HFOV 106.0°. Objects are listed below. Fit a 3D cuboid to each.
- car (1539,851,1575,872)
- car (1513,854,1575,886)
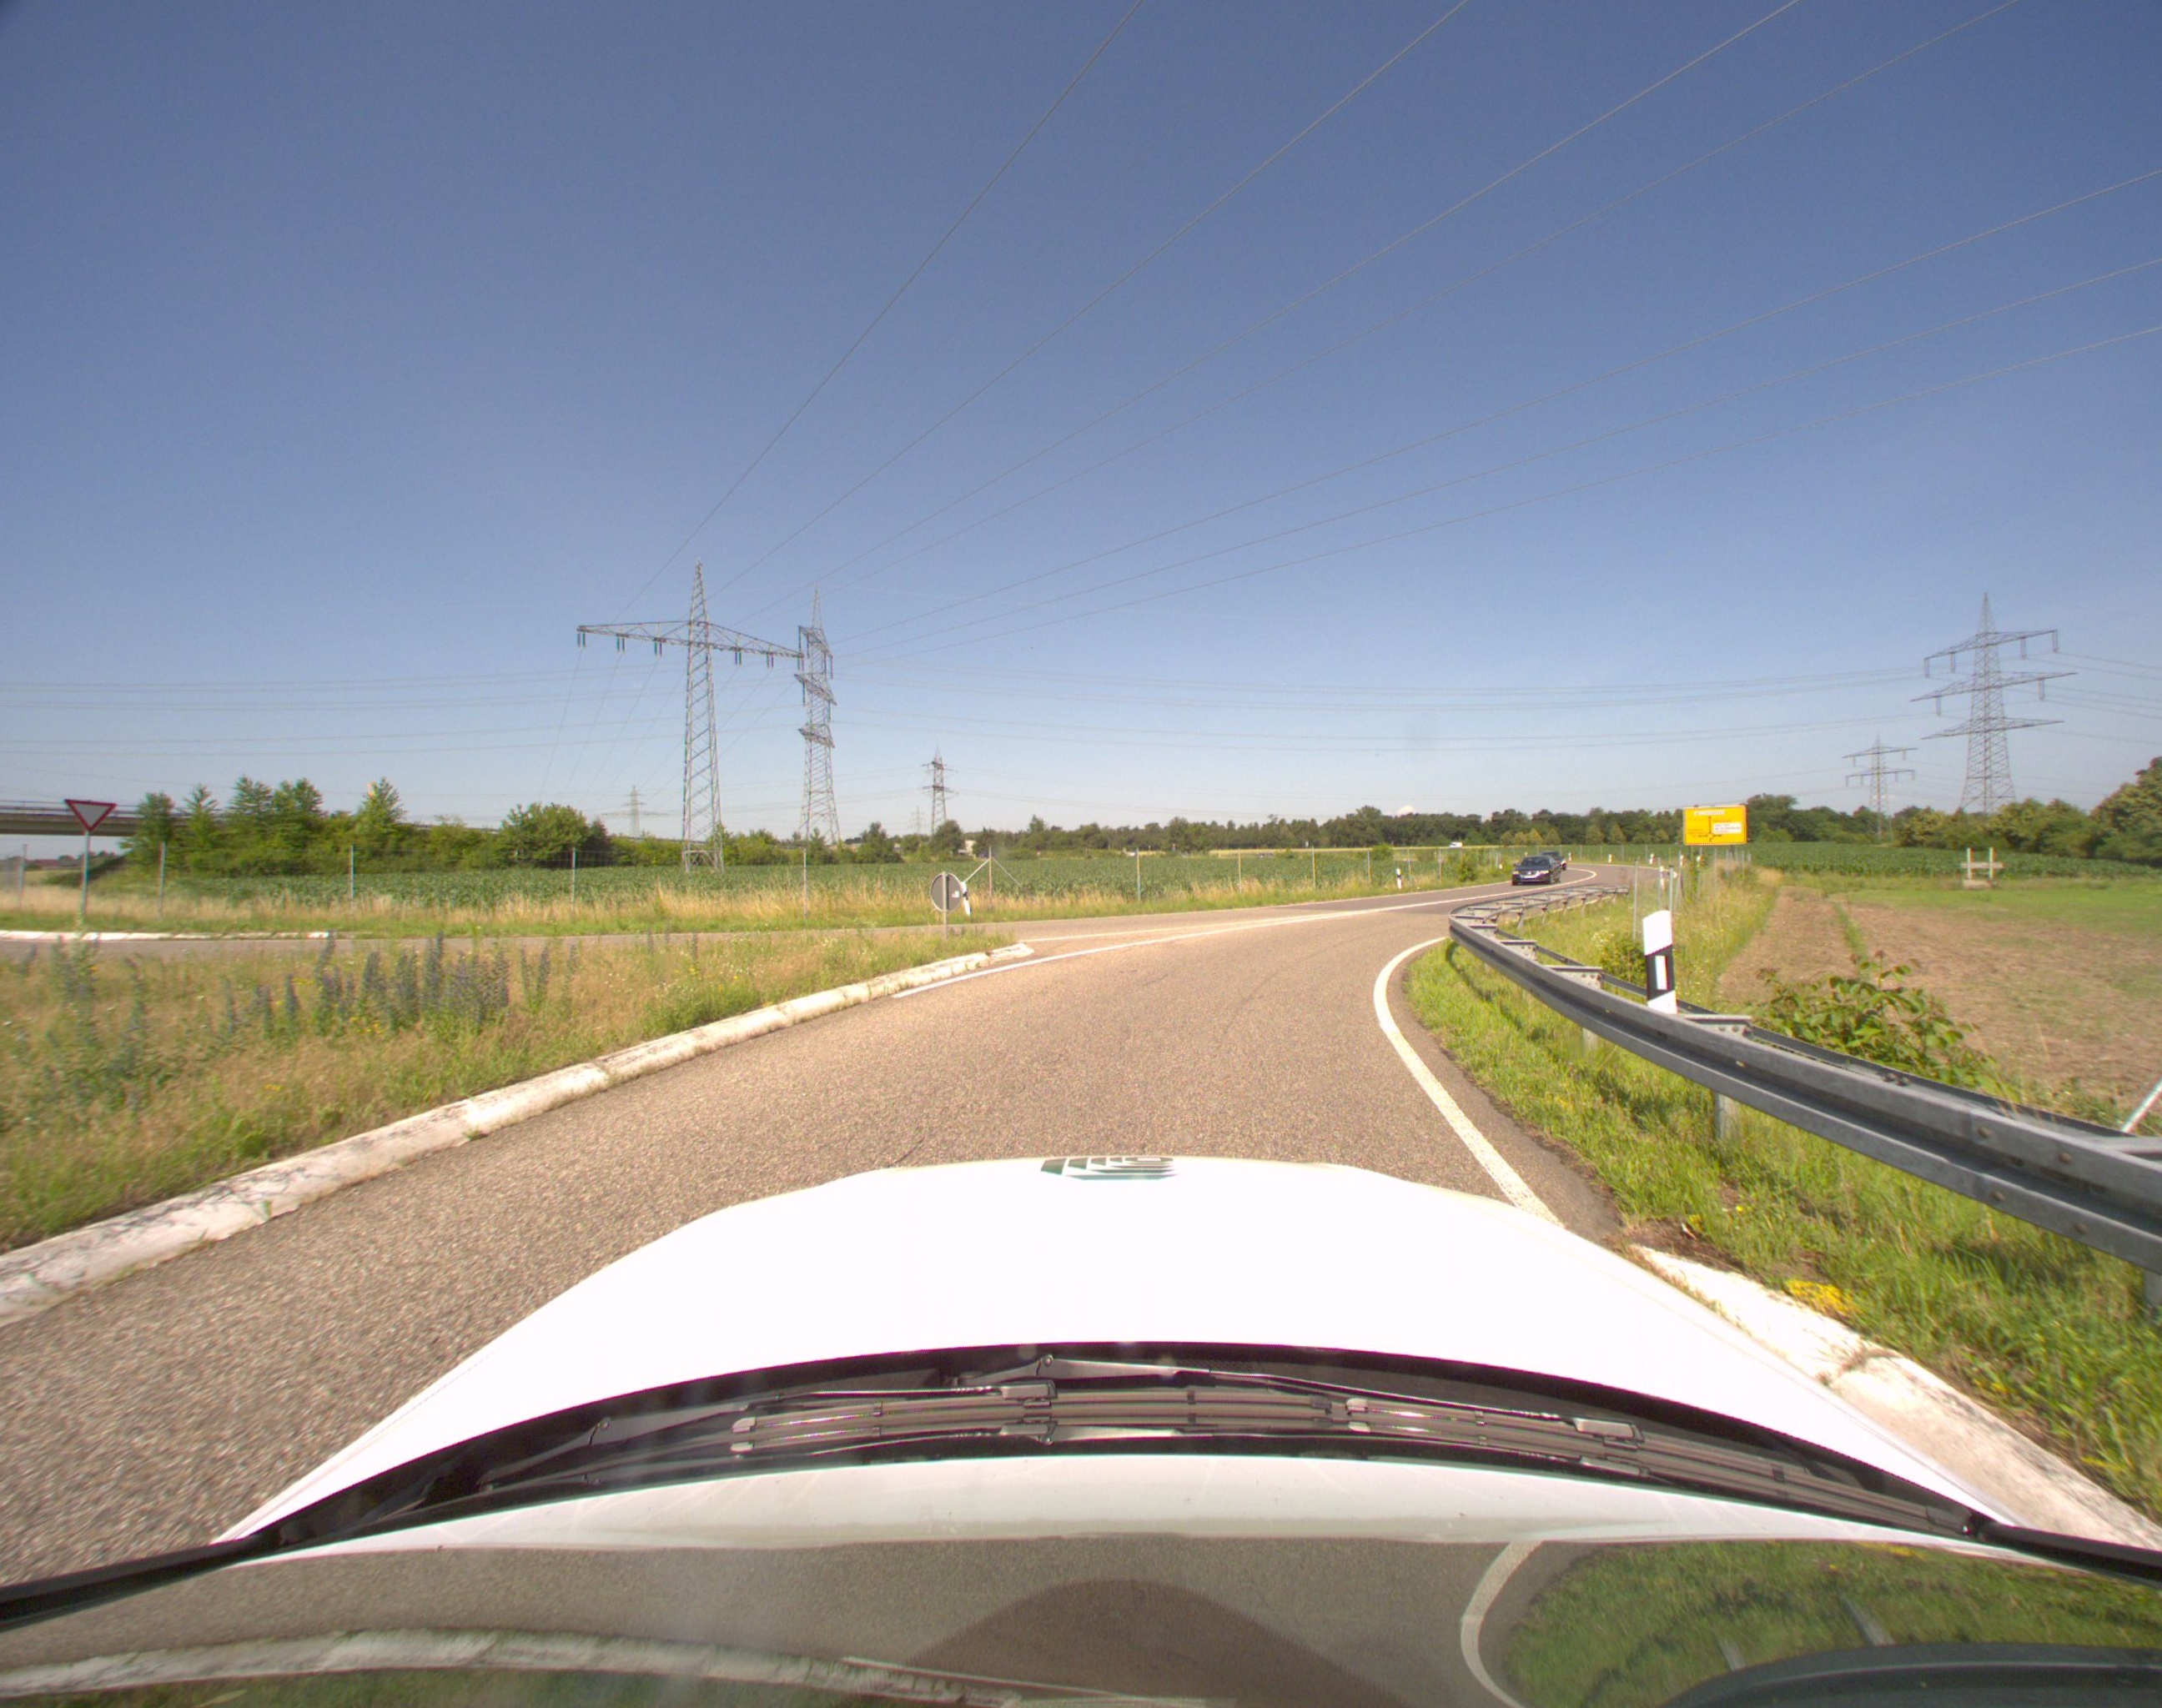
[{"bbox_3d":[40.165,0.592,68.834,1.967,1.706,4.283,0,0,21],"label":"car"},{"bbox_3d":[23.342,0.760,40.955,1.758,1.456,4.620,0,1,42],"label":"car"}]
